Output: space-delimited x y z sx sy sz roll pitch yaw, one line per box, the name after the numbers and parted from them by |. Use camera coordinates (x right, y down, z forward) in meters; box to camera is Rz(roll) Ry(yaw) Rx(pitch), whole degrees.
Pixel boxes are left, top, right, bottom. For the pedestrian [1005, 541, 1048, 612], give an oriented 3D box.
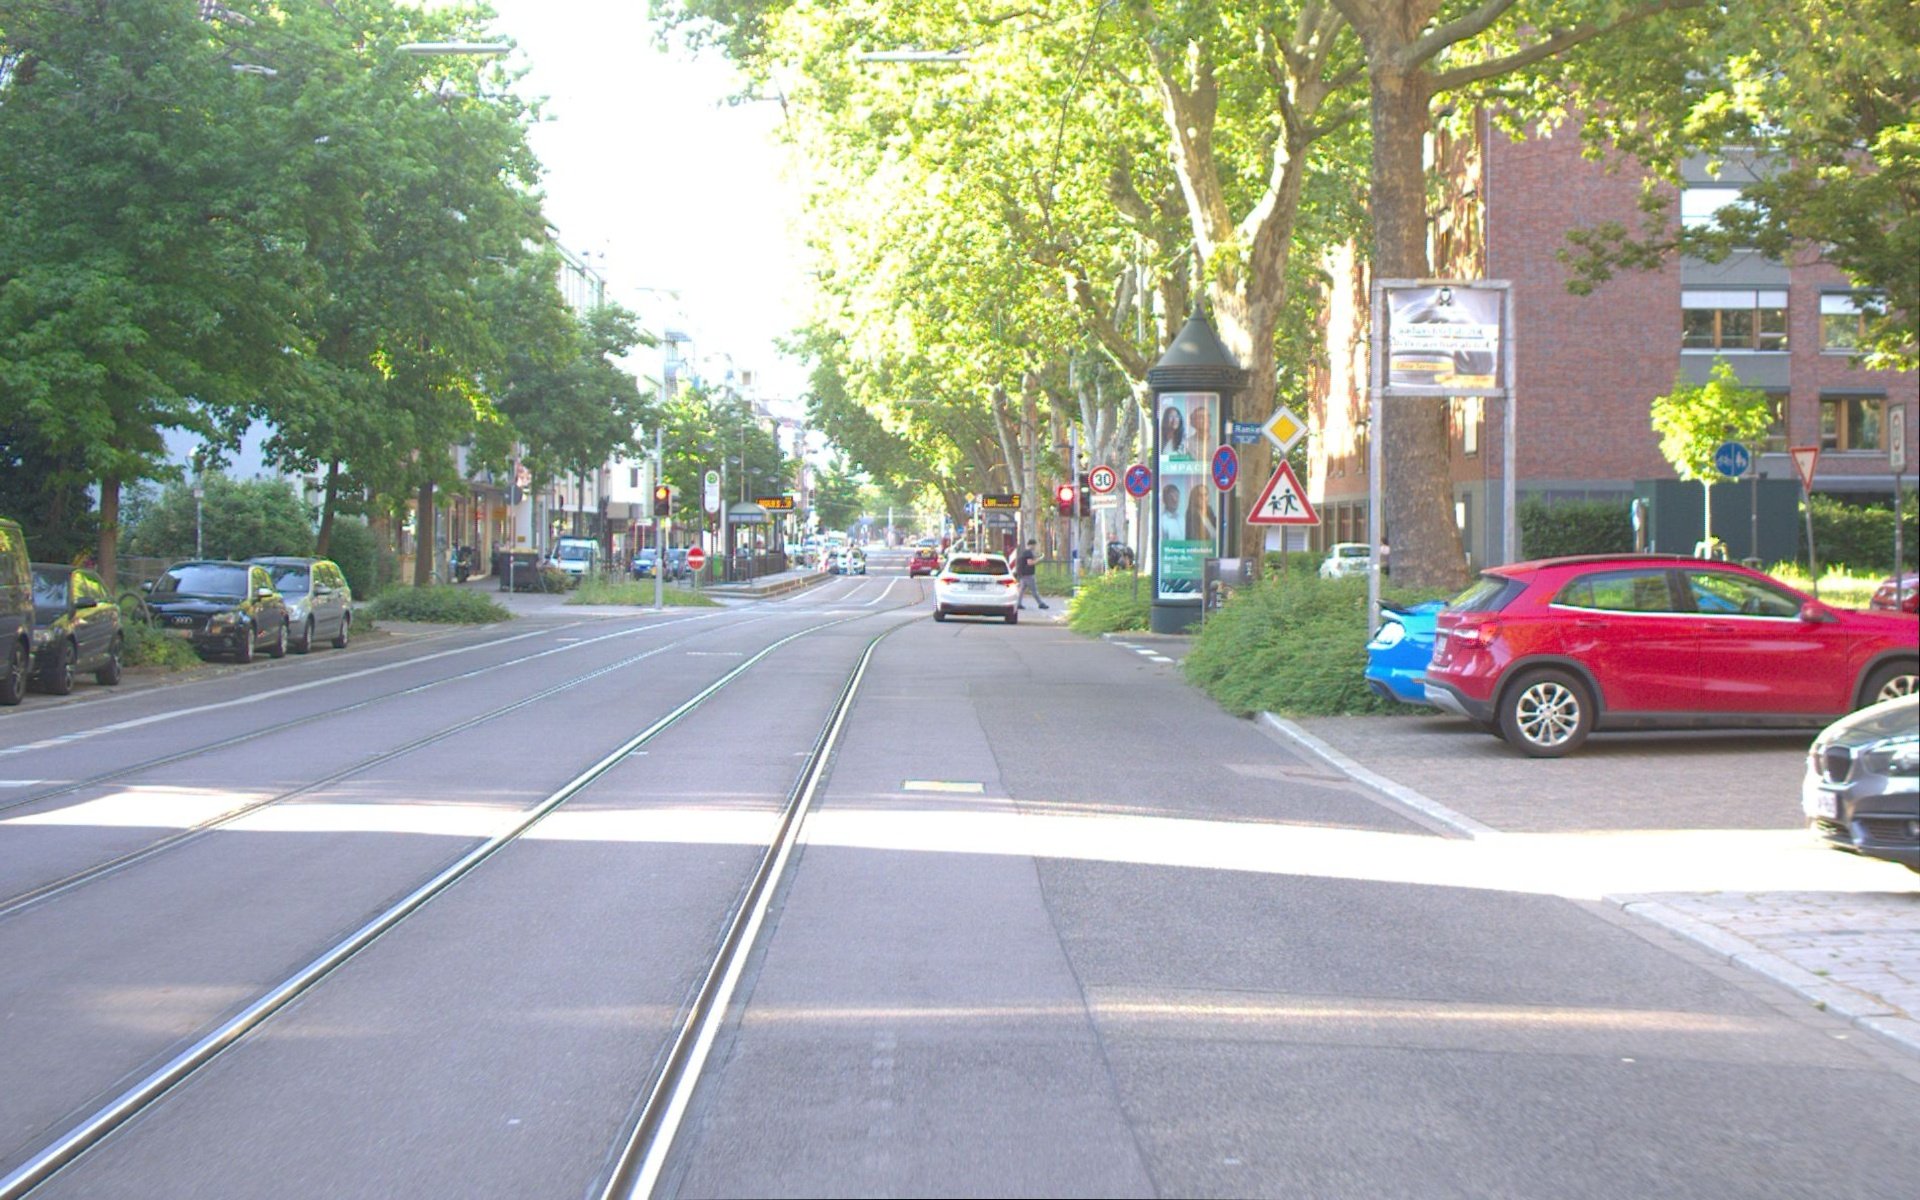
1.707 -0.615 88.154 0.994 1.805 0.864 0 1 -6 | pedestrian

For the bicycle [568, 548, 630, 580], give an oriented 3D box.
-13.982 -1.396 133.210 2.253 1.070 0.636 3 1 1 | bicycle

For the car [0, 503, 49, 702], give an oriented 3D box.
-10.660 0.032 34.307 1.993 2.007 4.835 0 1 -2 | car

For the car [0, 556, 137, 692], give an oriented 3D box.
-10.832 0.238 39.480 1.853 1.453 4.271 0 1 -2 | car

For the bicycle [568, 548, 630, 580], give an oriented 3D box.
-13.804 -1.371 131.464 2.253 1.070 0.636 3 1 1 | bicycle

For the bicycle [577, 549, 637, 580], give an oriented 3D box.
-13.862 -1.406 135.042 2.253 1.070 0.636 3 1 1 | bicycle

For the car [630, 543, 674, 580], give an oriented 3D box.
-13.653 -1.733 152.332 1.593 1.543 4.000 2 1 -1 | car

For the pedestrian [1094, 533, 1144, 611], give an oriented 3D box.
3.912 -0.692 84.851 0.982 1.857 1.016 -4 1 -6 | pedestrian

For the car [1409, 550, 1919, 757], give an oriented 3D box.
5.793 0.386 26.684 4.403 1.537 1.952 0 1 2 | car

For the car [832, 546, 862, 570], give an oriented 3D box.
-6.688 -2.490 203.925 1.693 1.414 4.000 0 1 -1 | car

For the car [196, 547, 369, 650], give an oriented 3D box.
-10.828 -0.059 55.254 1.700 1.545 4.536 1 1 2 | car

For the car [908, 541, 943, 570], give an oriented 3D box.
-1.807 -2.314 178.874 1.788 1.508 4.000 0 1 -1 | car

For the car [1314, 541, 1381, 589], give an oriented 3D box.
12.196 -1.117 108.222 1.600 1.490 3.417 0 1 -2 | car

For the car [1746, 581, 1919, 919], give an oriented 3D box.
5.929 0.644 15.803 4.199 1.443 1.818 0 1 -1 | car

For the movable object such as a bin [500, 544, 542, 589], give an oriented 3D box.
-13.649 -1.048 106.901 1.169 1.344 0.783 4 1 -5 | movable object such as a bin

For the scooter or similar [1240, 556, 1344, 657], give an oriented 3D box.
4.116 0.077 42.606 1.208 1.235 0.569 -1 0 -2 | scooter or similar

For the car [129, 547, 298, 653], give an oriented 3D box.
-10.756 -0.026 49.772 1.658 1.440 3.950 1 1 -1 | car

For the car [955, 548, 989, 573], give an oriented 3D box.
0.701 -2.377 206.491 1.993 1.448 4.000 0 1 -1 | car

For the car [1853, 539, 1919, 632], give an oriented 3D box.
16.267 -0.248 54.902 3.537 1.447 1.684 0 1 -2 | car

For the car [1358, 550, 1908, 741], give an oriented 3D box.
5.578 0.354 28.967 4.404 1.537 1.817 0 1 7 | car

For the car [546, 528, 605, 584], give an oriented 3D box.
-13.444 -1.559 120.296 1.688 1.933 4.000 0 1 -1 | car

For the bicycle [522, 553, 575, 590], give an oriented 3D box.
-13.031 -0.903 108.979 1.533 1.071 0.885 3 1 -1 | bicycle

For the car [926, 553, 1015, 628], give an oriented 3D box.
0.196 -0.219 71.722 1.788 1.508 4.000 0 1 -1 | car
